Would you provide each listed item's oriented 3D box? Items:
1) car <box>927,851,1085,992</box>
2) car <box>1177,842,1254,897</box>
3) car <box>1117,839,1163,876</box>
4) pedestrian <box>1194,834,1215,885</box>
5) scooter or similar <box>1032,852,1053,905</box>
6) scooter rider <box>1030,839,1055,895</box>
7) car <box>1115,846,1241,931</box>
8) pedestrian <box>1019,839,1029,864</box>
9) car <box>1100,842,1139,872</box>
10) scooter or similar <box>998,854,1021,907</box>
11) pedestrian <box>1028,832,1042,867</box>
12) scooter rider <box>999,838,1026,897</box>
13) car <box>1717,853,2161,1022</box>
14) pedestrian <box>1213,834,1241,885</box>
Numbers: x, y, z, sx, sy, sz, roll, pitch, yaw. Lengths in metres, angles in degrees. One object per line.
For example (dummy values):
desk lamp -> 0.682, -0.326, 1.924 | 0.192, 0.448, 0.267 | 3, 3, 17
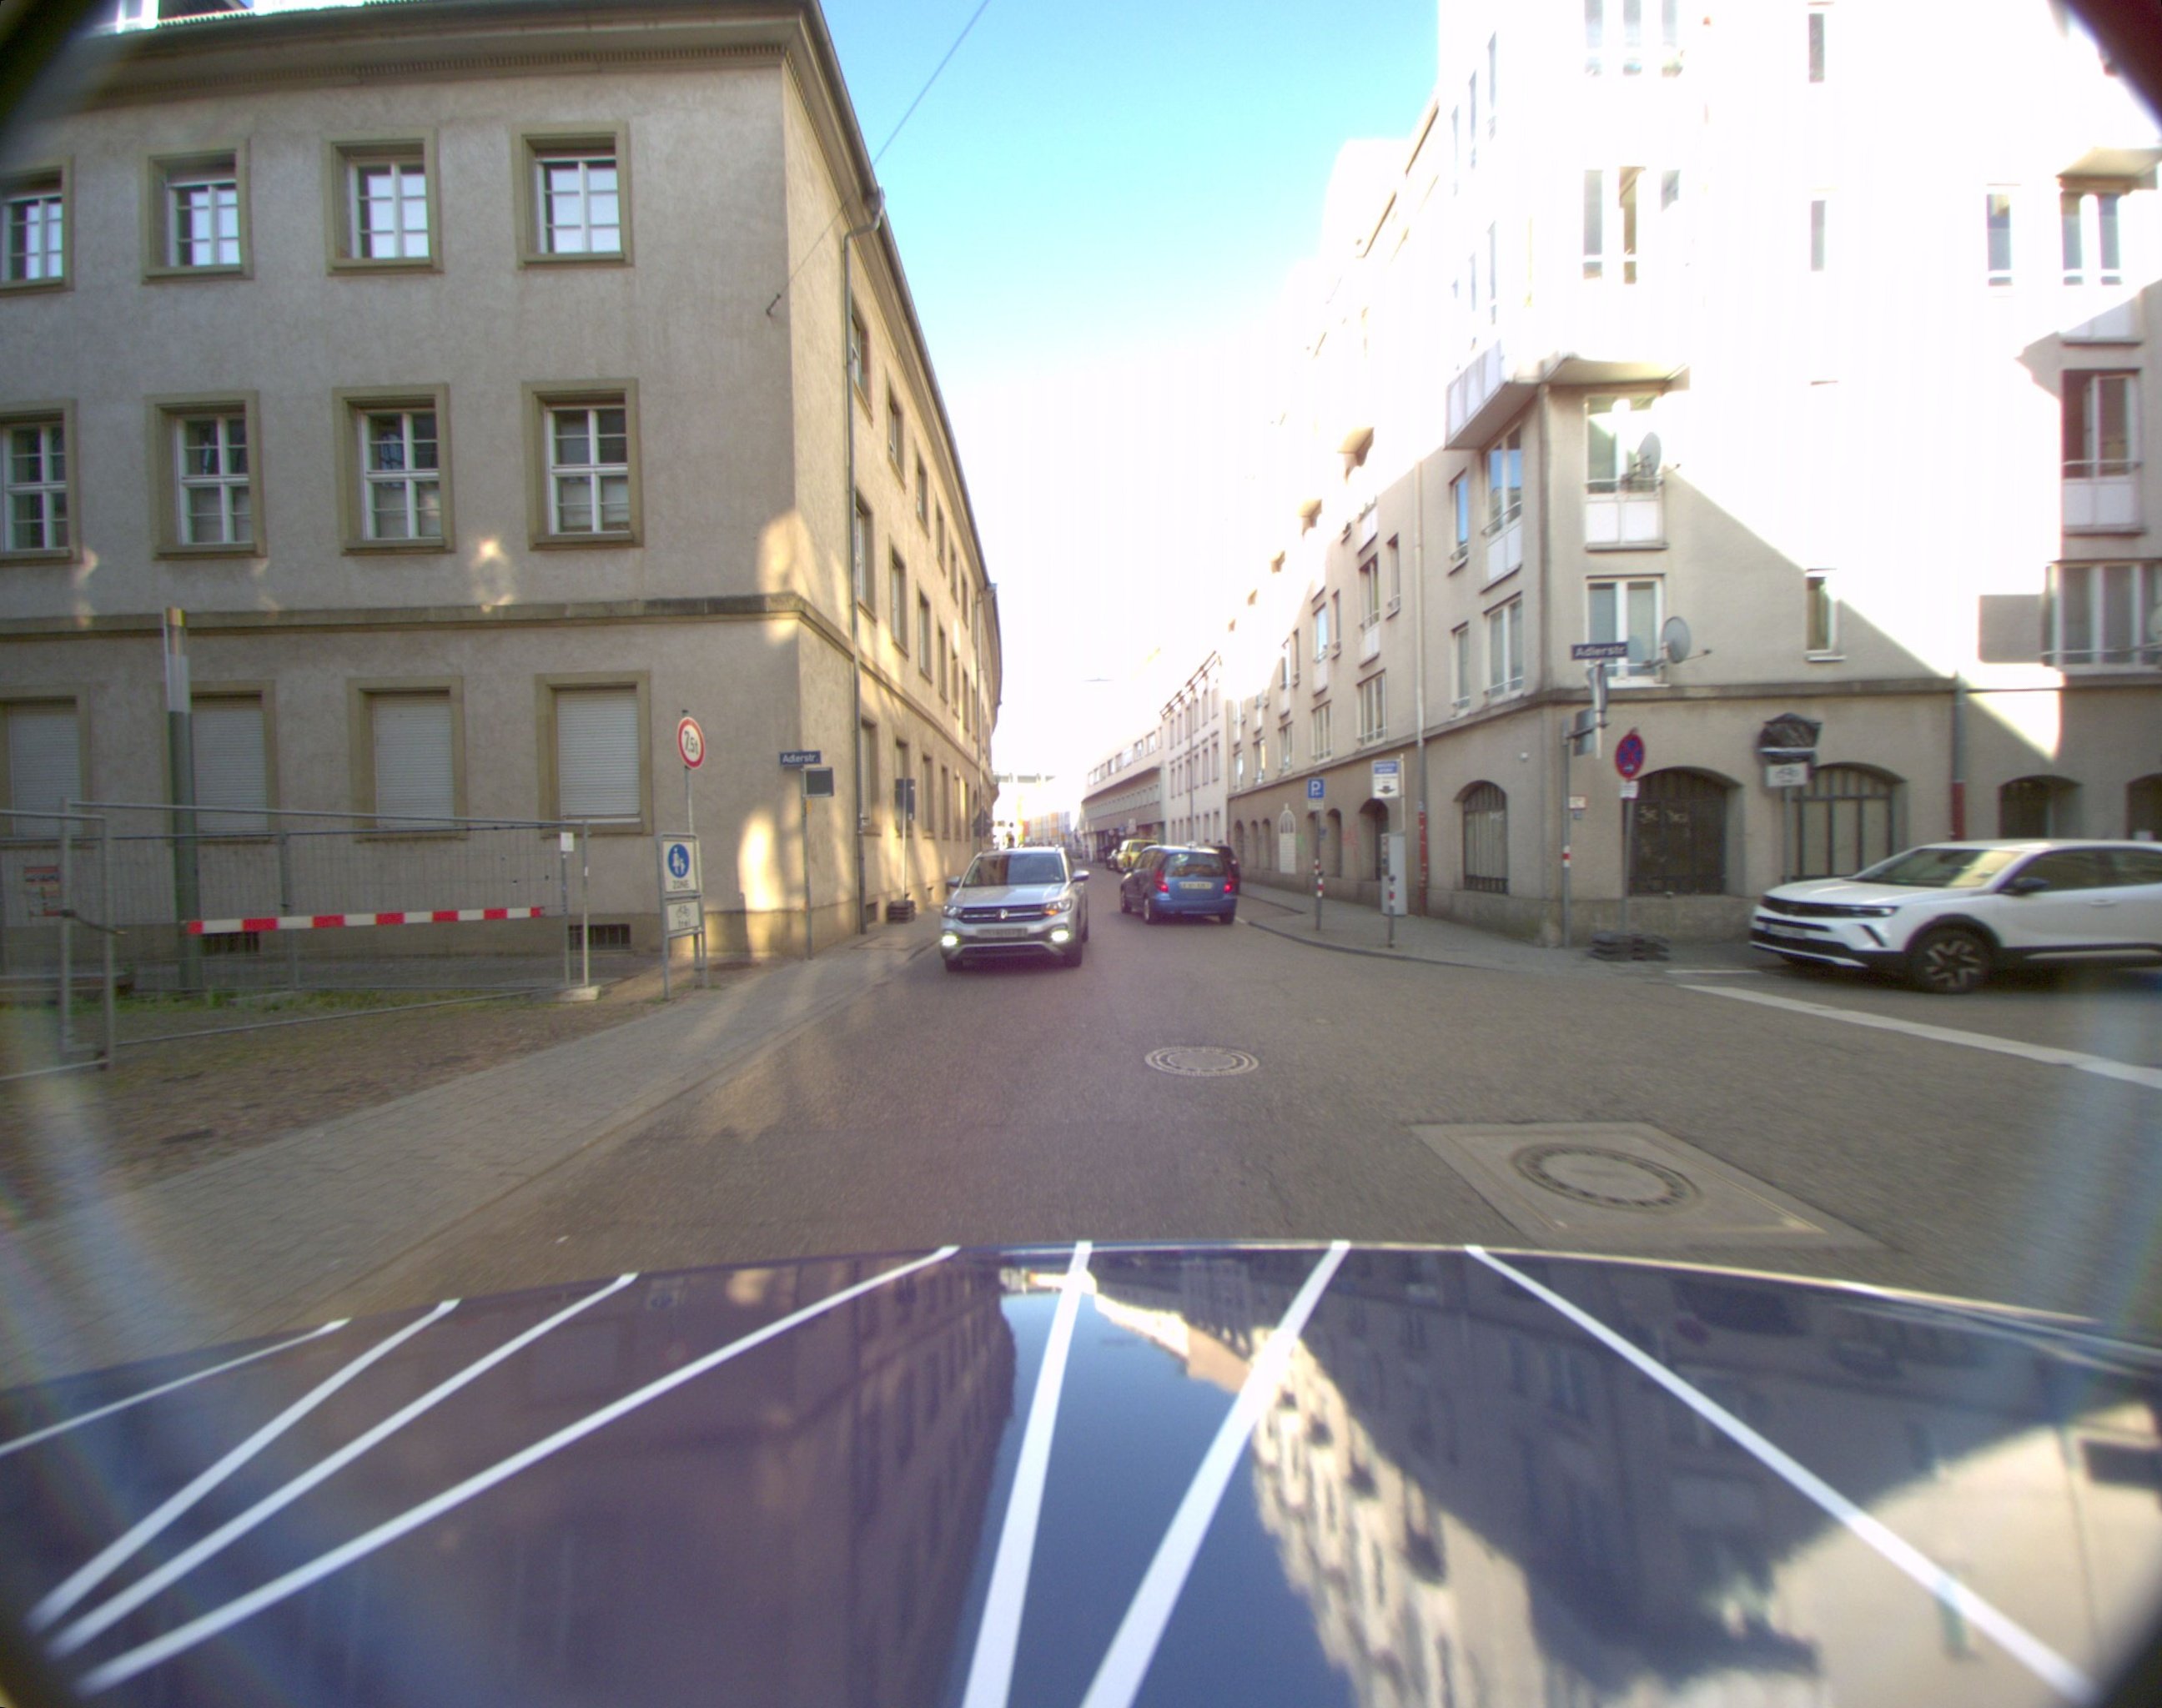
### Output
car -> -0.859, 0.786, 10.873 | 1.762, 1.537, 3.999 | -1, 1, 1
car -> 4.463, 0.451, 25.704 | 1.888, 1.695, 3.999 | -1, 1, 0
car -> 3.227, 0.156, 42.211 | 1.889, 1.863, 3.997 | -3, 2, -5
pedestrian -> 4.925, 0.215, 30.329 | 0.715, 2.002, 0.698 | -1, 2, -3
scooter or similar -> -1.066, 0.662, 21.227 | 0.550, 1.389, 1.555 | 0, 2, -2
scooter rider -> -1.064, 0.350, 21.213 | 0.591, 1.500, 0.600 | -3, 2, -2
car -> 1.916, 0.656, 16.237 | 1.856, 1.583, 3.804 | 0, 0, -6
pedestrian -> -4.588, -0.186, 61.299 | 0.715, 2.002, 0.698 | -1, 2, -3
car -> 2.390, 0.138, 47.887 | 1.889, 1.758, 3.997 | 2, 1, -5
scooter or similar -> -1.988, 0.724, 21.288 | 0.524, 1.389, 1.555 | 0, 2, -2
pedestrian -> -2.584, -0.260, 42.845 | 0.715, 2.002, 0.698 | -1, 2, -3
scooter rider -> -1.909, 0.369, 21.287 | 0.647, 1.585, 0.600 | -3, 2, -2
car -> 9.759, 0.817, 8.318 | 3.964, 1.584, 1.743 | 0, 2, 6
pedestrian -> 5.839, 0.218, 30.368 | 0.937, 2.002, 0.698 | -1, 2, -3
